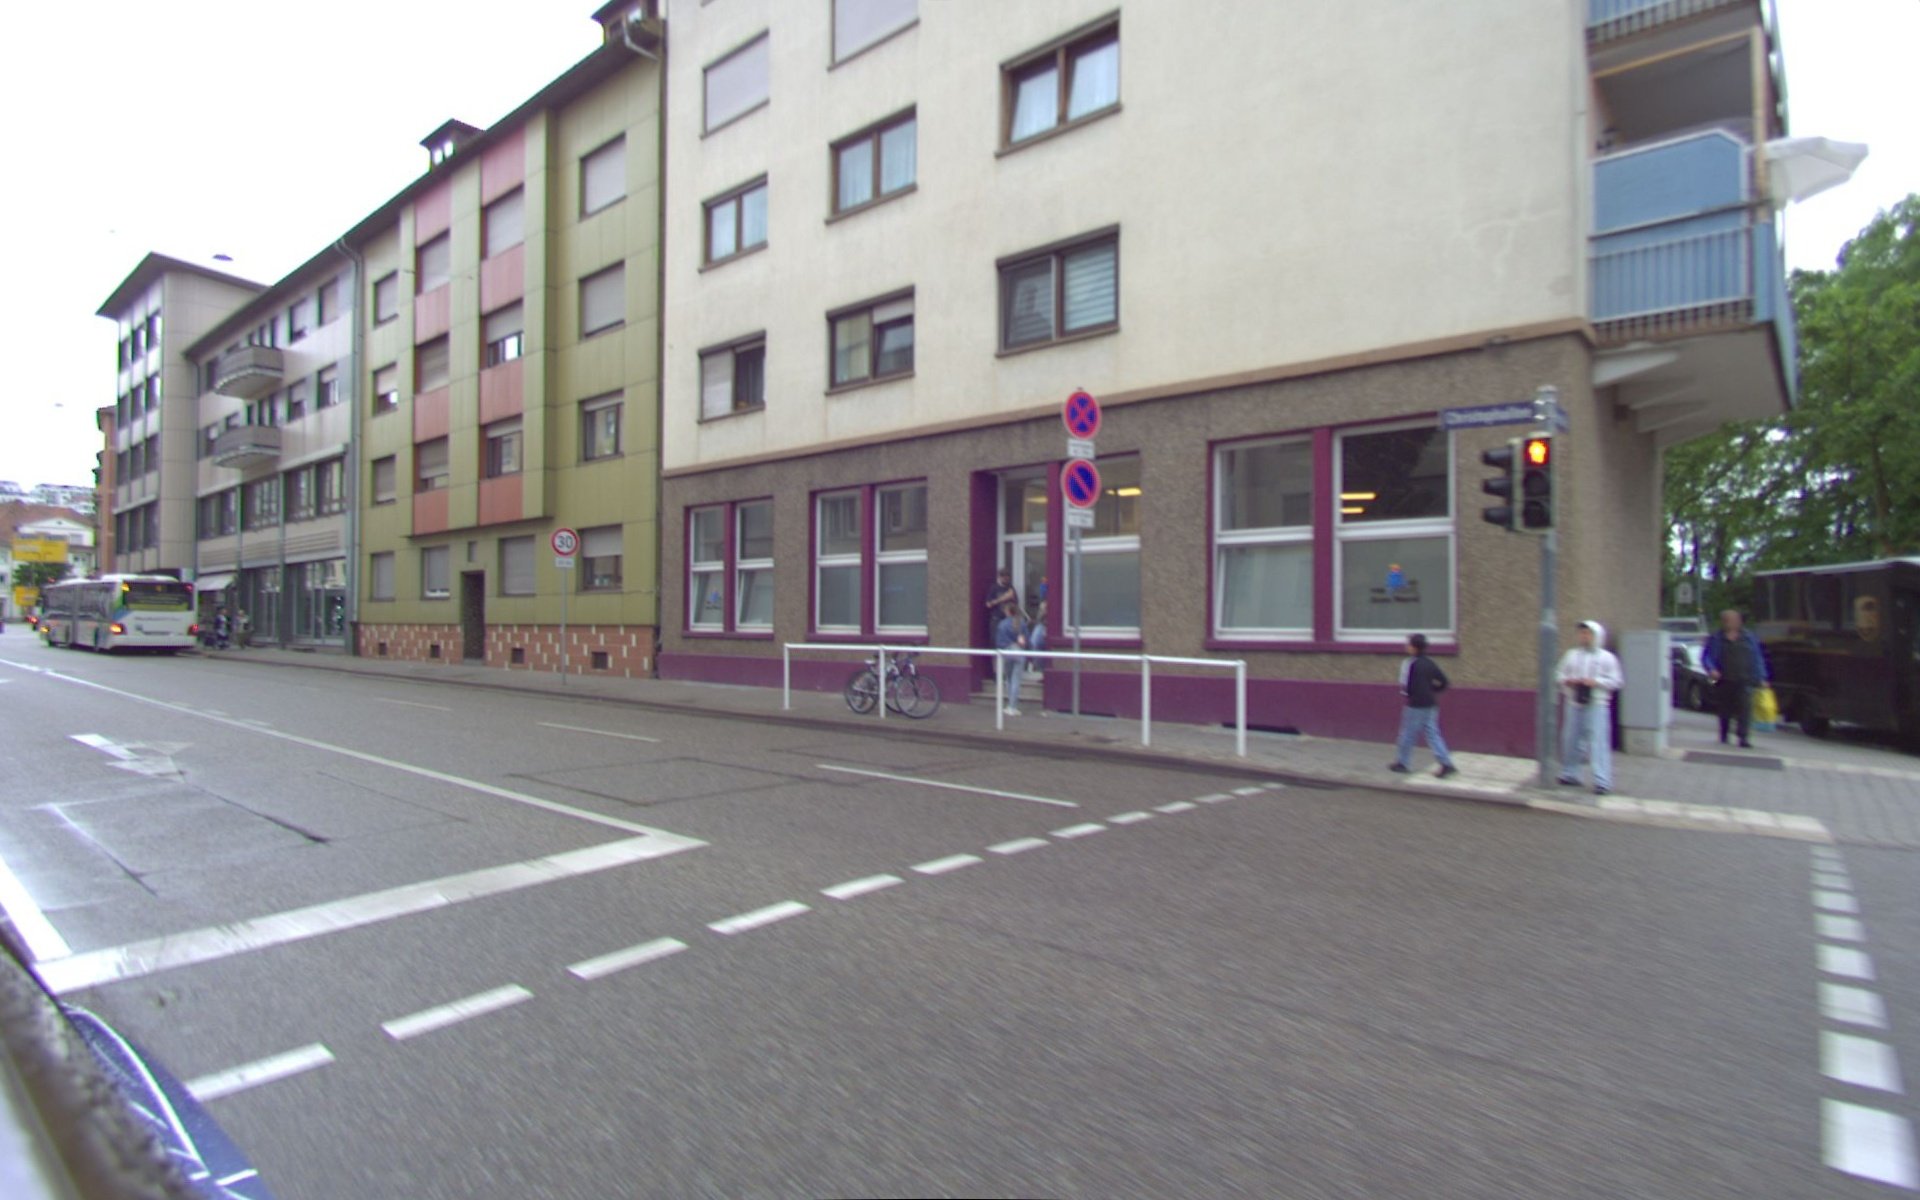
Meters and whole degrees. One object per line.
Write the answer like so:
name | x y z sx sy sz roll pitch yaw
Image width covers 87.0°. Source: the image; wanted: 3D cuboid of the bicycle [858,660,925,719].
bicycle | -0.995 1.277 14.604 1.110 0.789 0.261 0 -2 41

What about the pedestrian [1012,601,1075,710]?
pedestrian | 1.262 0.817 15.234 0.588 1.589 0.765 0 -2 41

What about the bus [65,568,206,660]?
bus | -32.325 0.536 39.503 9.288 3.213 2.697 0 -2 41

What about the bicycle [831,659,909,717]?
bicycle | -1.373 1.319 15.338 1.421 0.789 0.261 0 -2 41

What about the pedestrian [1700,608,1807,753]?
pedestrian | 10.260 1.001 13.084 1.022 1.766 0.920 -1 -2 43

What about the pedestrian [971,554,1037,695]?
pedestrian | 0.686 0.378 15.714 0.729 2.115 0.705 0 -2 38

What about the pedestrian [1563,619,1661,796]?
pedestrian | 5.759 0.911 8.940 0.660 1.469 0.636 0 -2 40

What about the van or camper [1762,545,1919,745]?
van or camper | 14.421 0.654 14.655 1.982 2.751 6.450 0 -1 15

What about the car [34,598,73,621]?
car | -99.559 1.019 111.144 6.344 2.454 2.066 0 -2 38

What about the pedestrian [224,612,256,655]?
pedestrian | -28.150 1.301 39.573 0.711 1.627 0.828 0 -2 41

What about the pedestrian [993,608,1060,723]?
pedestrian | 0.930 0.896 14.164 0.739 1.565 0.569 0 -2 38

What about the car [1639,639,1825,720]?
car | 16.582 1.642 21.980 1.852 1.510 3.686 0 -1 14

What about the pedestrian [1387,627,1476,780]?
pedestrian | 4.542 0.966 9.742 0.649 1.398 0.539 -1 -2 43

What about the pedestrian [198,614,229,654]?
pedestrian | -28.727 1.303 38.963 0.711 1.546 0.791 0 -2 41

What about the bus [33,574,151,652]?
bus | -39.132 0.575 45.480 8.908 3.213 2.730 0 -2 41

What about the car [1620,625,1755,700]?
car | 21.549 1.780 30.194 1.982 2.029 3.980 0 -1 15
